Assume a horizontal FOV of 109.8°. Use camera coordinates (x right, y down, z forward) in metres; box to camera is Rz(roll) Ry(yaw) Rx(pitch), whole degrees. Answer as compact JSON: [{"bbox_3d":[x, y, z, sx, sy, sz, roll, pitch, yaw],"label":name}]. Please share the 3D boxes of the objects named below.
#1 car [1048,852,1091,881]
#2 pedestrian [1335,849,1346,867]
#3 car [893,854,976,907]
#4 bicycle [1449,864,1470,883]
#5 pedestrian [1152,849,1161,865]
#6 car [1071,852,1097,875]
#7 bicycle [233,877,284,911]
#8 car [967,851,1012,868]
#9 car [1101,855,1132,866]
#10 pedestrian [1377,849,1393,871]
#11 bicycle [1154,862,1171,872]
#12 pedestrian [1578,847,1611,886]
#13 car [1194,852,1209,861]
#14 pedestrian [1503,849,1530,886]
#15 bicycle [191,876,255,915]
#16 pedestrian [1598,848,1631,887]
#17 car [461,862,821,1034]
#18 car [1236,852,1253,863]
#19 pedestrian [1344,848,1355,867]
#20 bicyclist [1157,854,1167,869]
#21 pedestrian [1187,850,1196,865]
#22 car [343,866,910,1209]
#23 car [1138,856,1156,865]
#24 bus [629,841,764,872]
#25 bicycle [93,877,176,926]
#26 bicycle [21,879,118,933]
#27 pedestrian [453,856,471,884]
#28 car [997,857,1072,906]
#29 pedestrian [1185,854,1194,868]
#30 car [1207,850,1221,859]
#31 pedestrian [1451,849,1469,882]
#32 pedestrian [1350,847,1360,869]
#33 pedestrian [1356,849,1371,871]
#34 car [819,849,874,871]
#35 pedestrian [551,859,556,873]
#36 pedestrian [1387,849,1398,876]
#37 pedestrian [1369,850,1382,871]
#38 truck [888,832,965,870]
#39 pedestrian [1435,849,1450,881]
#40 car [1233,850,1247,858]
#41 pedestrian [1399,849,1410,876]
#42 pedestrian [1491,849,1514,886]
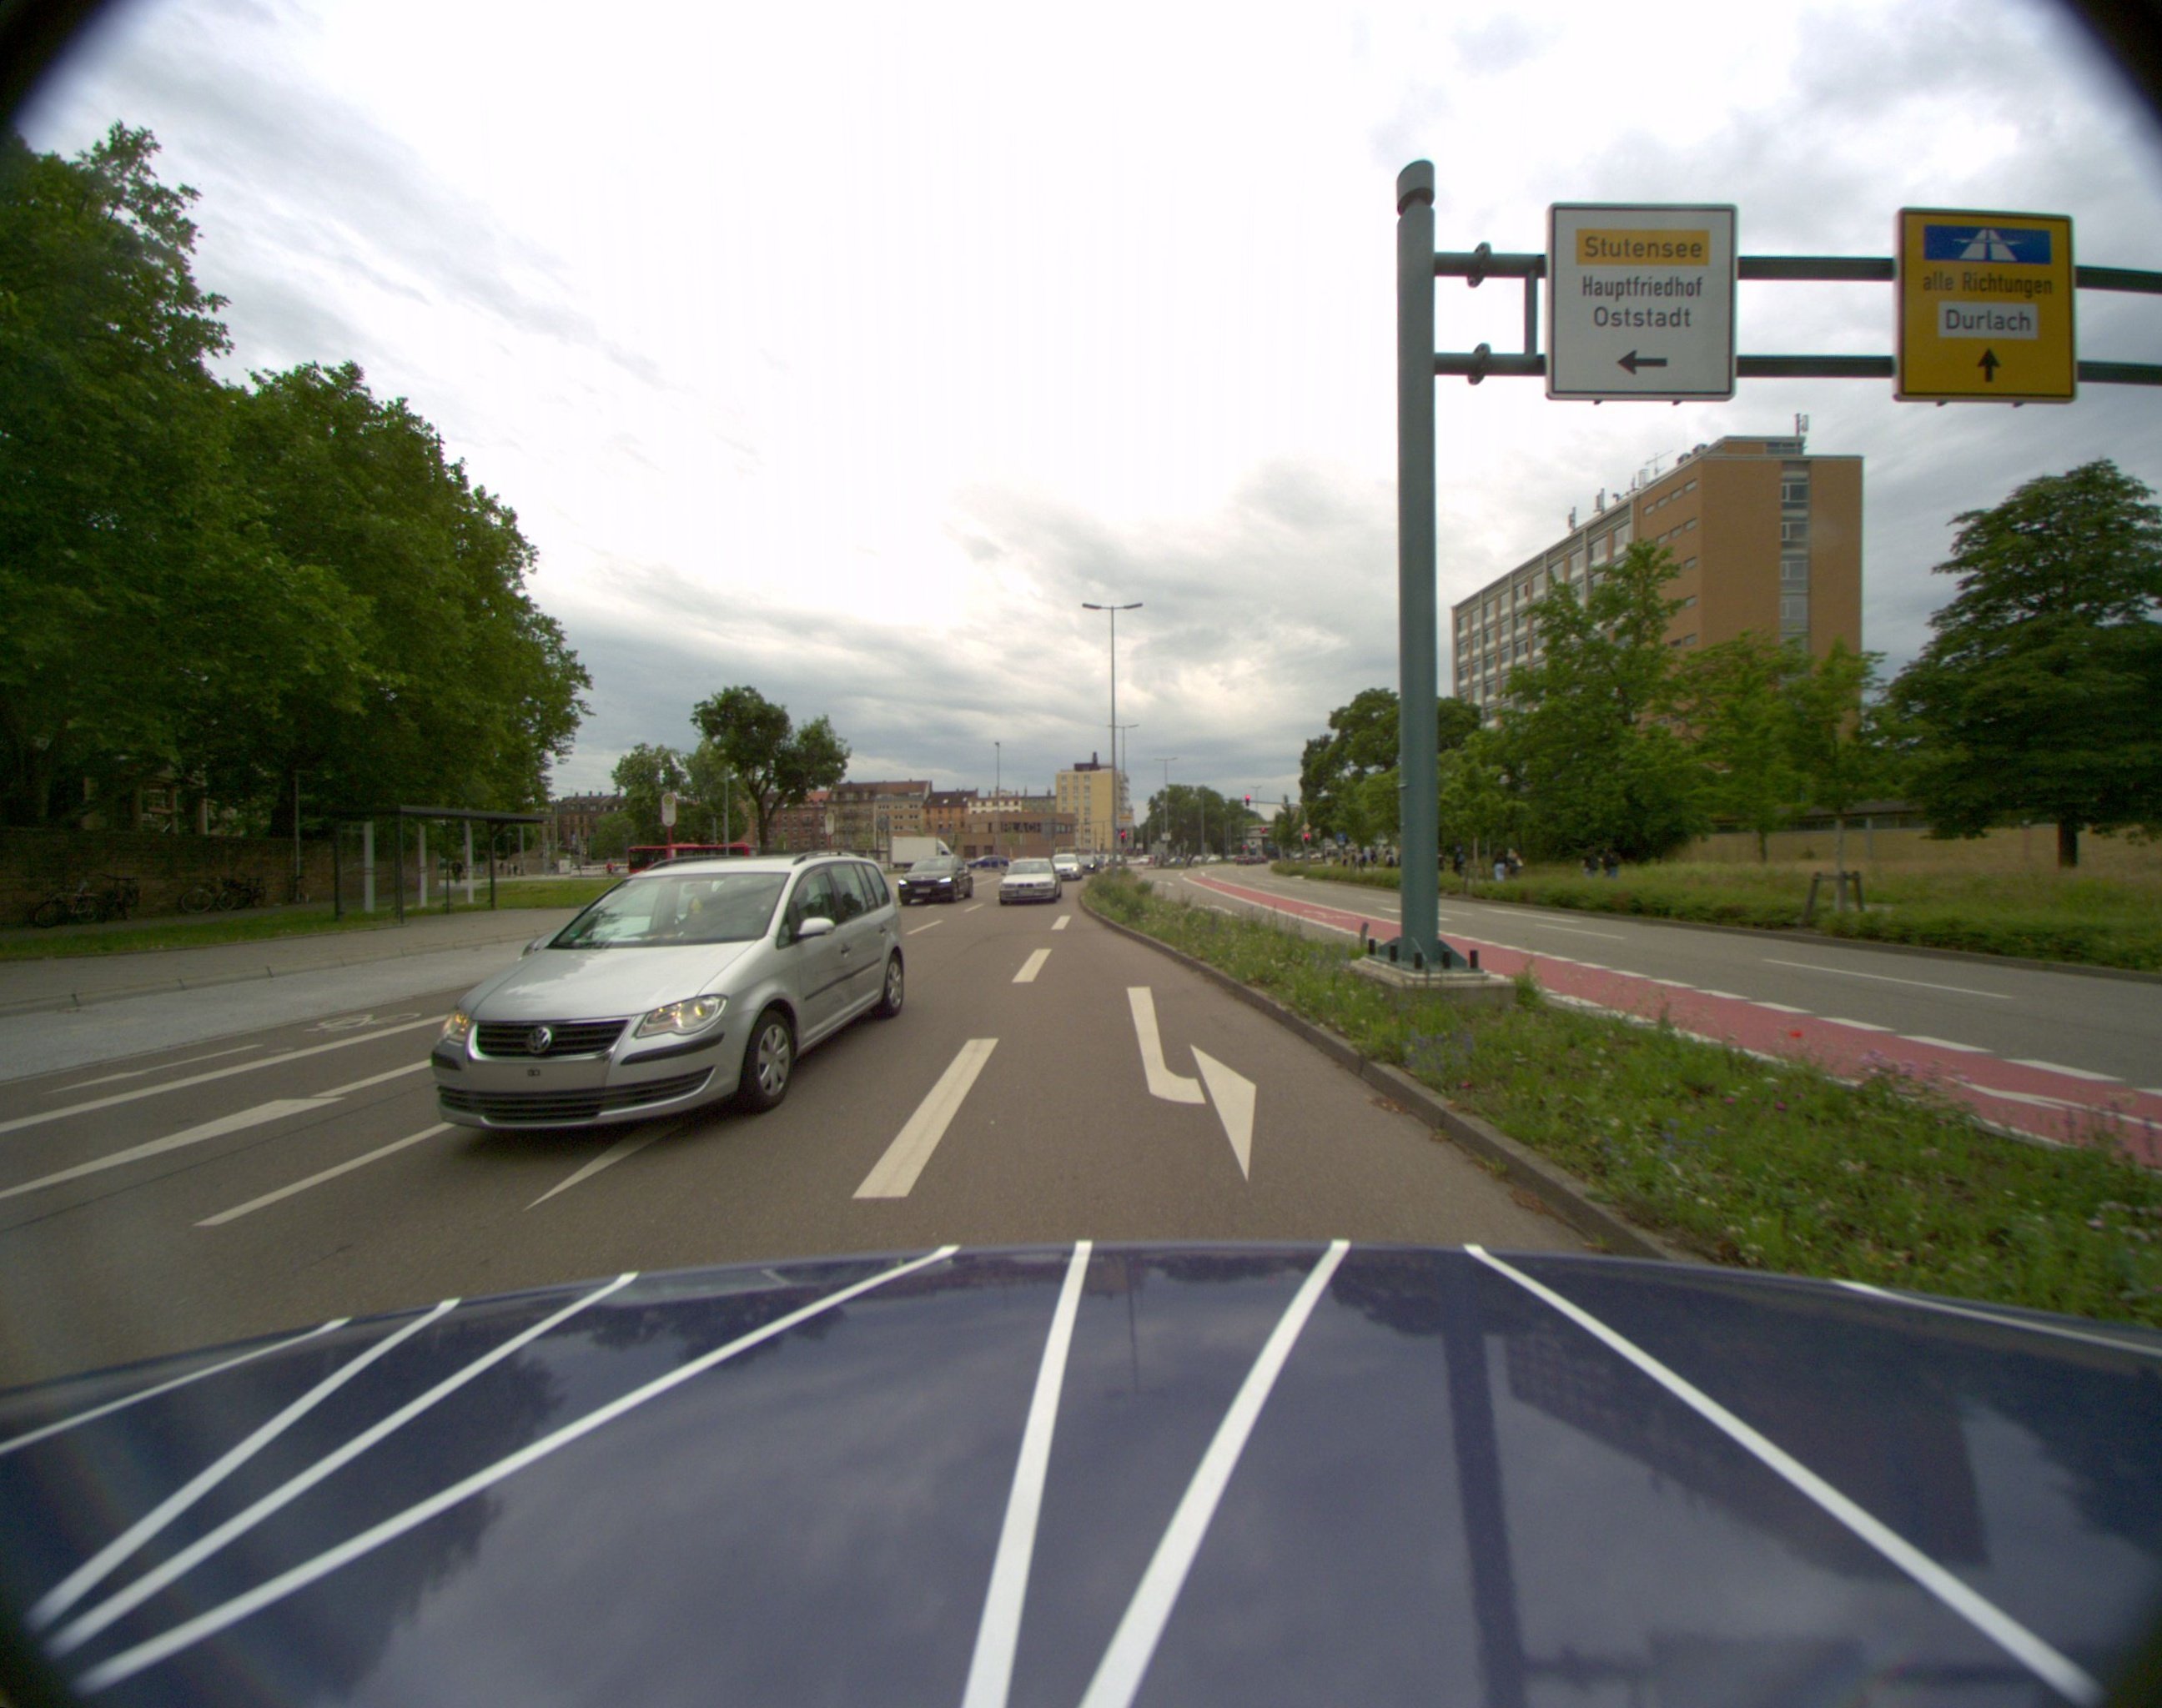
[{"bbox_3d":[-0.576,0.656,42.415,1.785,1.454,3.873,-2,0,8],"label":"car"},{"bbox_3d":[23.136,0.355,67.763,0.708,1.661,0.943,-1,0,5],"label":"pedestrian"},{"bbox_3d":[-4.982,0.848,26.523,1.912,1.615,4.490,-2,0,1],"label":"car"},{"bbox_3d":[19.056,0.963,38.240,0.661,0.882,1.717,1,0,17],"label":"bicycle"},{"bbox_3d":[8.600,0.351,86.608,0.917,1.794,0.541,1,0,18],"label":"pedestrian"},{"bbox_3d":[0.254,0.699,58.386,1.888,1.591,4.446,-3,0,1],"label":"car"},{"bbox_3d":[-25.928,1.229,23.981,0.552,0.986,1.633,0,0,-27],"label":"bicycle"},{"bbox_3d":[-9.668,0.632,80.255,4.440,1.735,1.760,1,0,-33],"label":"car"},{"bbox_3d":[5.041,0.940,107.303,4.036,1.466,1.818,1,0,-18],"label":"car"},{"bbox_3d":[22.413,0.439,56.028,0.635,1.603,0.829,-2,0,-20],"label":"pedestrian"},{"bbox_3d":[9.631,1.504,89.785,2.004,1.136,0.807,1,0,4],"label":"bicycle"},{"bbox_3d":[18.017,0.437,26.676,0.646,1.350,0.711,1,0,1],"label":"pedestrian"},{"bbox_3d":[22.858,0.449,143.920,1.606,1.586,3.766,1,0,27],"label":"car"},{"bbox_3d":[19.412,0.596,33.869,0.709,1.663,0.767,1,0,-4],"label":"pedestrian"},{"bbox_3d":[-25.250,1.199,22.395,0.596,1.053,1.710,1,0,-24],"label":"bicycle"},{"bbox_3d":[18.765,0.465,26.734,0.646,1.354,0.680,1,0,0],"label":"pedestrian"},{"bbox_3d":[-5.327,1.008,10.113,1.829,1.542,4.527,-2,1,4],"label":"car"},{"bbox_3d":[25.207,0.503,116.962,1.812,1.657,3.955,1,1,24],"label":"car"},{"bbox_3d":[23.962,0.307,67.839,0.708,1.661,0.890,-2,0,5],"label":"pedestrian"},{"bbox_3d":[9.568,0.876,89.781,1.191,1.725,0.807,1,0,4],"label":"bicyclist"},{"bbox_3d":[13.003,0.380,89.139,0.769,1.794,0.739,1,0,-20],"label":"pedestrian"},{"bbox_3d":[-2.725,0.951,5.828,1.733,1.593,4.106,-2,0,2],"label":"car"},{"bbox_3d":[10.480,1.095,120.433,1.514,1.382,3.439,1,0,32],"label":"car"},{"bbox_3d":[-39.135,0.223,77.565,12.089,2.891,2.937,-1,0,-2],"label":"bus"},{"bbox_3d":[-23.923,1.180,19.243,0.596,1.123,1.710,1,0,-24],"label":"bicycle"},{"bbox_3d":[-23.368,1.172,17.595,0.596,1.129,1.710,1,0,-24],"label":"bicycle"},{"bbox_3d":[-39.203,1.000,48.124,0.820,1.725,0.759,1,1,42],"label":"pedestrian"},{"bbox_3d":[-1.417,0.835,24.805,1.725,1.406,4.247,-2,0,6],"label":"car"},{"bbox_3d":[12.415,0.801,86.911,0.777,1.657,0.706,1,0,-6],"label":"pedestrian"},{"bbox_3d":[26.689,0.110,152.689,1.801,1.586,3.766,1,0,27],"label":"car"},{"bbox_3d":[19.057,0.586,38.229,0.661,1.622,0.764,1,0,17],"label":"pedestrian"},{"bbox_3d":[23.024,0.351,63.895,0.638,1.790,0.762,-1,0,5],"label":"pedestrian"},{"bbox_3d":[19.774,0.425,53.178,0.730,1.471,0.813,1,0,5],"label":"pedestrian"},{"bbox_3d":[-22.456,0.597,72.881,4.712,1.909,1.919,-1,3,-2],"label":"car"},{"bbox_3d":[-62.290,1.402,89.716,0.373,1.695,0.372,1,0,1],"label":"pedestrian"},{"bbox_3d":[19.485,0.545,47.523,0.622,1.685,0.748,1,0,20],"label":"pedestrian"},{"bbox_3d":[20.656,0.439,53.272,0.637,1.471,0.762,1,0,5],"label":"pedestrian"},{"bbox_3d":[-14.795,-0.293,73.138,6.851,3.393,2.559,-2,2,-3],"label":"truck"},{"bbox_3d":[18.216,0.572,38.307,0.575,1.599,0.617,1,0,18],"label":"pedestrian"},{"bbox_3d":[33.792,0.001,161.846,1.606,1.586,3.767,1,0,33],"label":"car"},{"bbox_3d":[20.271,0.524,47.644,0.579,1.702,0.763,1,0,22],"label":"pedestrian"},{"bbox_3d":[18.742,0.603,33.795,0.587,1.650,0.720,1,0,-4],"label":"pedestrian"}]
